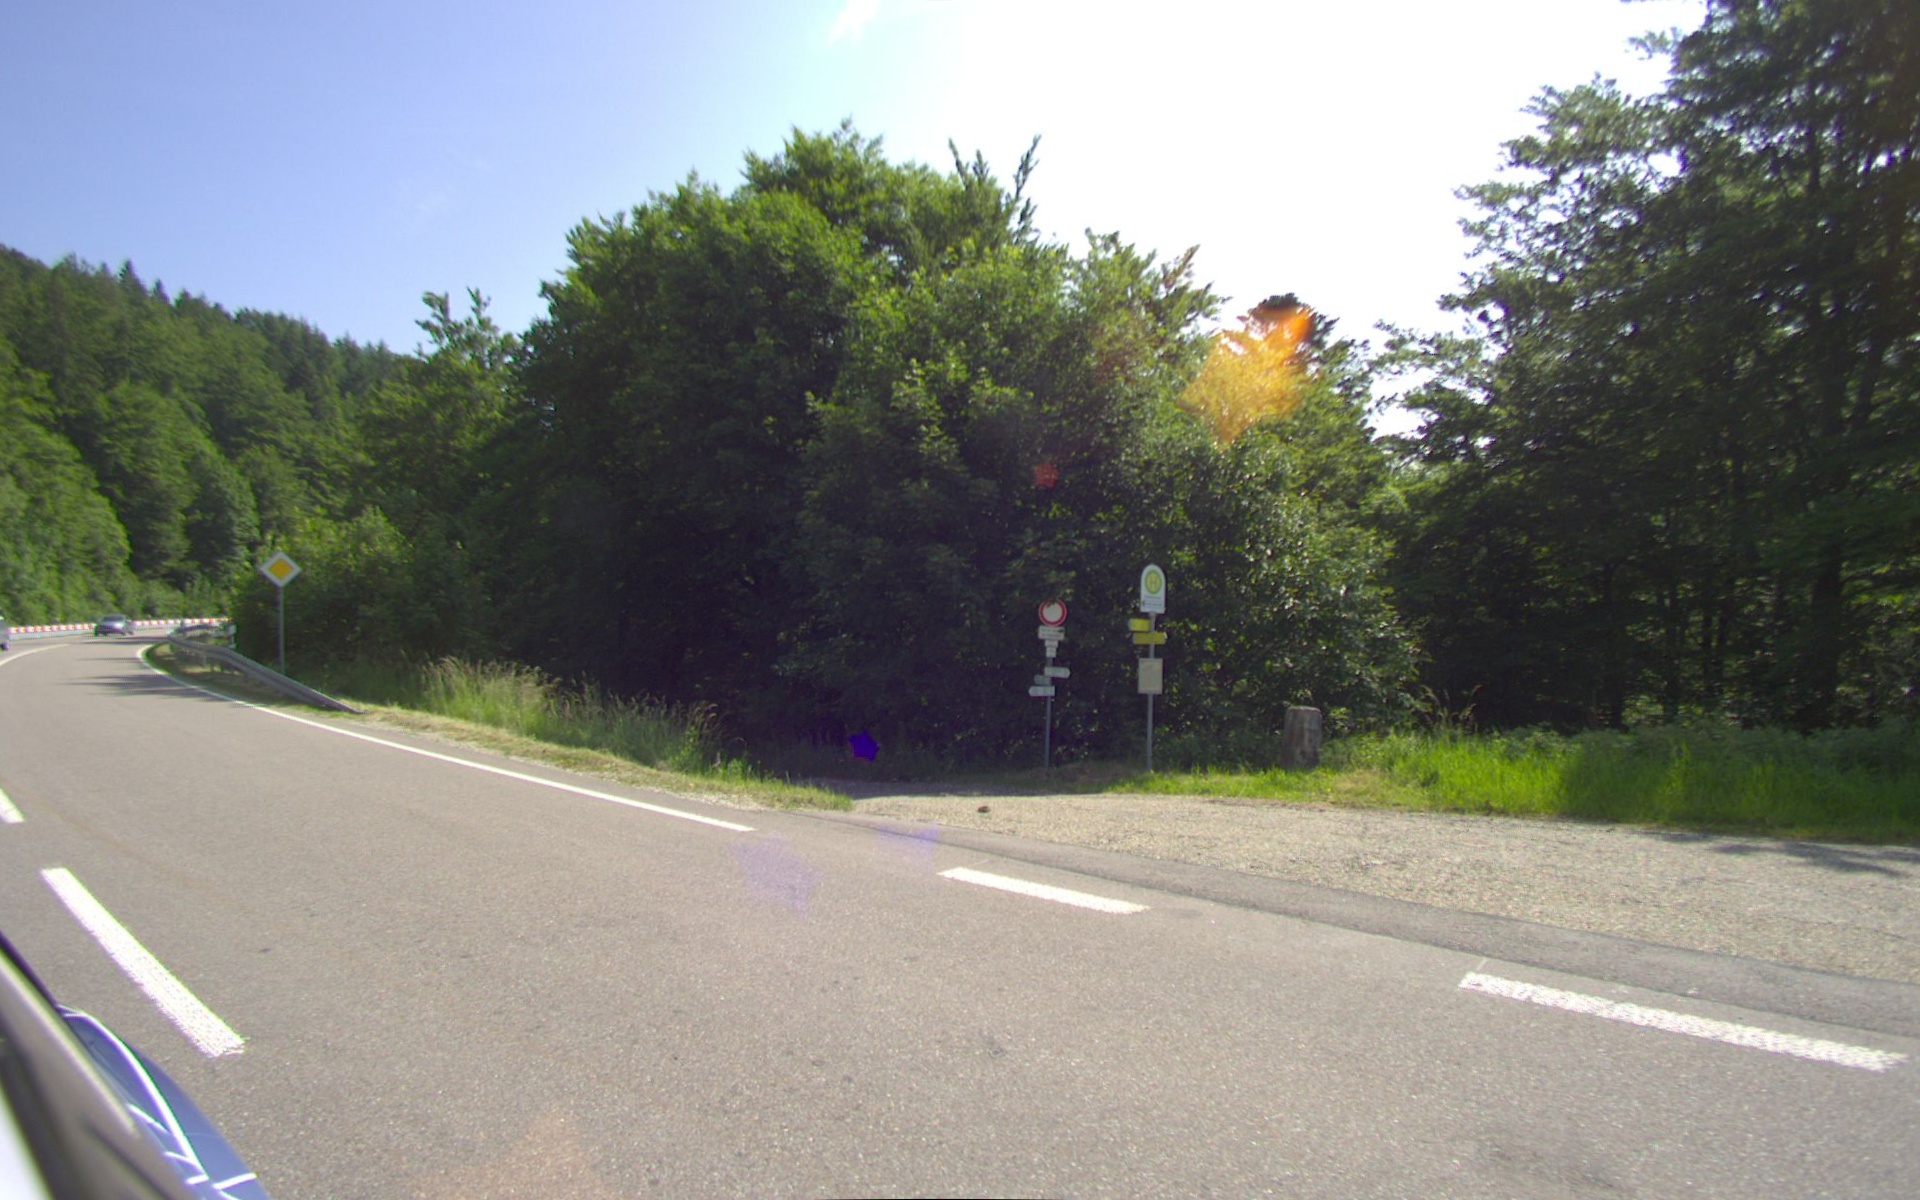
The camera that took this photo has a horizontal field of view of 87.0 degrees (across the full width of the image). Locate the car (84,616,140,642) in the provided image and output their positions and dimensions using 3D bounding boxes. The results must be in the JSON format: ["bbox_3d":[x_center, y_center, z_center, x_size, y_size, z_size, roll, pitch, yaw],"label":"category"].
[{"bbox_3d":[-57.943,1.952,69.220,1.965,1.655,4.013,-2,0,-26],"label":"car"}]
